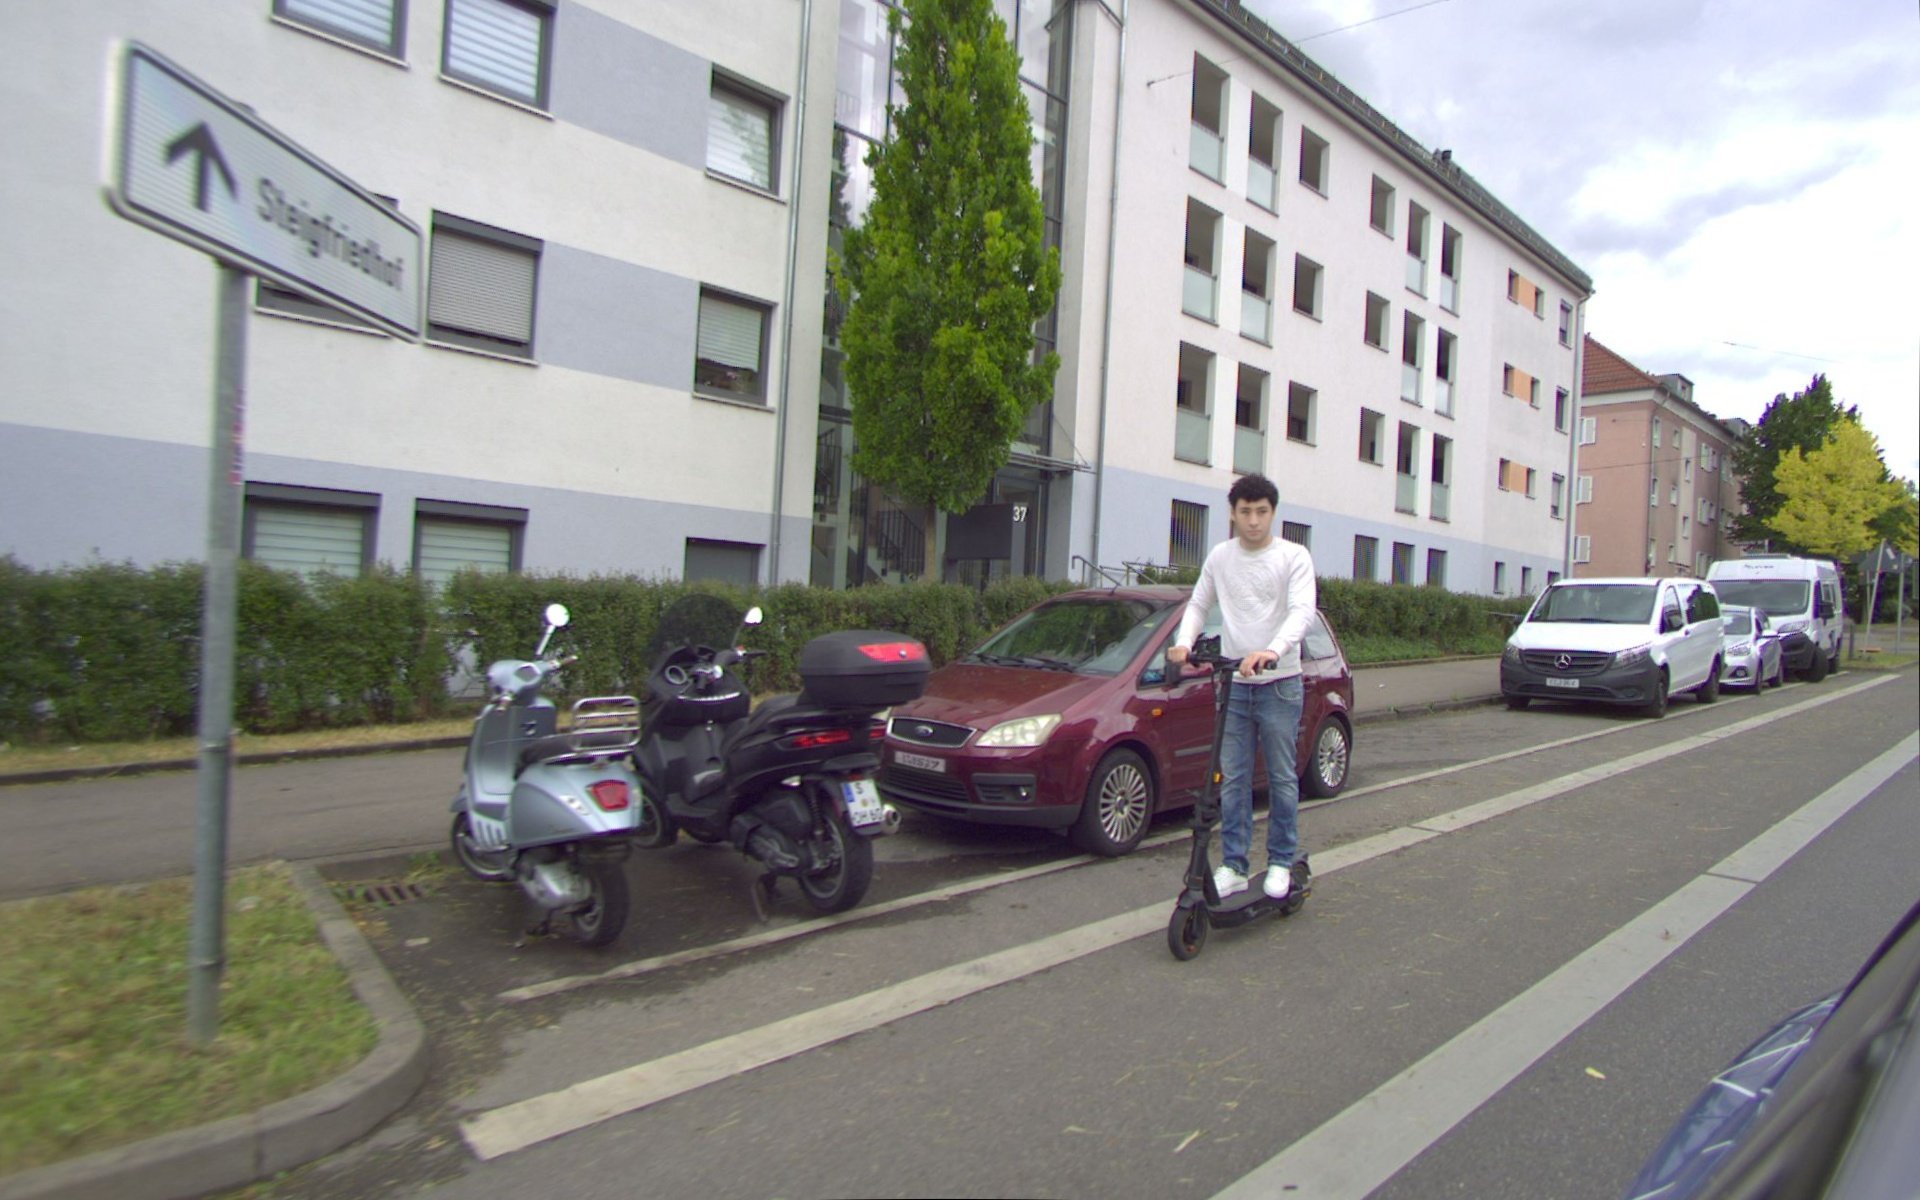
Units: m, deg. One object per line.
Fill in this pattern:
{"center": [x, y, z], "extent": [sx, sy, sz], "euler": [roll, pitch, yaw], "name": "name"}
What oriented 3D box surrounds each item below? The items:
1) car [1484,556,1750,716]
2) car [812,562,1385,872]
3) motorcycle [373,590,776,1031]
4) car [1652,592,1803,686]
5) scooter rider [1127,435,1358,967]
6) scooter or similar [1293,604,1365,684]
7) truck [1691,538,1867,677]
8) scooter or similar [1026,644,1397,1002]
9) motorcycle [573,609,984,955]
{"center": [9.773, 0.442, 14.857], "extent": [5.121, 1.968, 1.997], "euler": [1, 1, -42], "name": "car"}
{"center": [1.212, 0.590, 7.178], "extent": [4.264, 1.564, 1.683], "euler": [1, 0, -42], "name": "car"}
{"center": [-1.845, 0.680, 4.477], "extent": [0.681, 1.398, 2.599], "euler": [1, 0, -44], "name": "motorcycle"}
{"center": [13.728, 0.636, 18.032], "extent": [3.663, 1.505, 1.526], "euler": [1, -1, -43], "name": "car"}
{"center": [1.219, 0.384, 4.366], "extent": [0.744, 2.039, 0.626], "euler": [1, 0, -42], "name": "scooter rider"}
{"center": [5.561, 0.639, 15.317], "extent": [0.460, 1.119, 1.387], "euler": [1, 1, -5], "name": "scooter or similar"}
{"center": [17.599, 0.144, 21.630], "extent": [5.591, 2.598, 2.055], "euler": [1, 0, -42], "name": "truck"}
{"center": [1.186, 0.817, 4.402], "extent": [2.039, 1.178, 0.491], "euler": [1, 0, -42], "name": "scooter or similar"}
{"center": [-1.071, 0.729, 5.197], "extent": [0.741, 1.295, 2.599], "euler": [1, 0, -44], "name": "motorcycle"}
